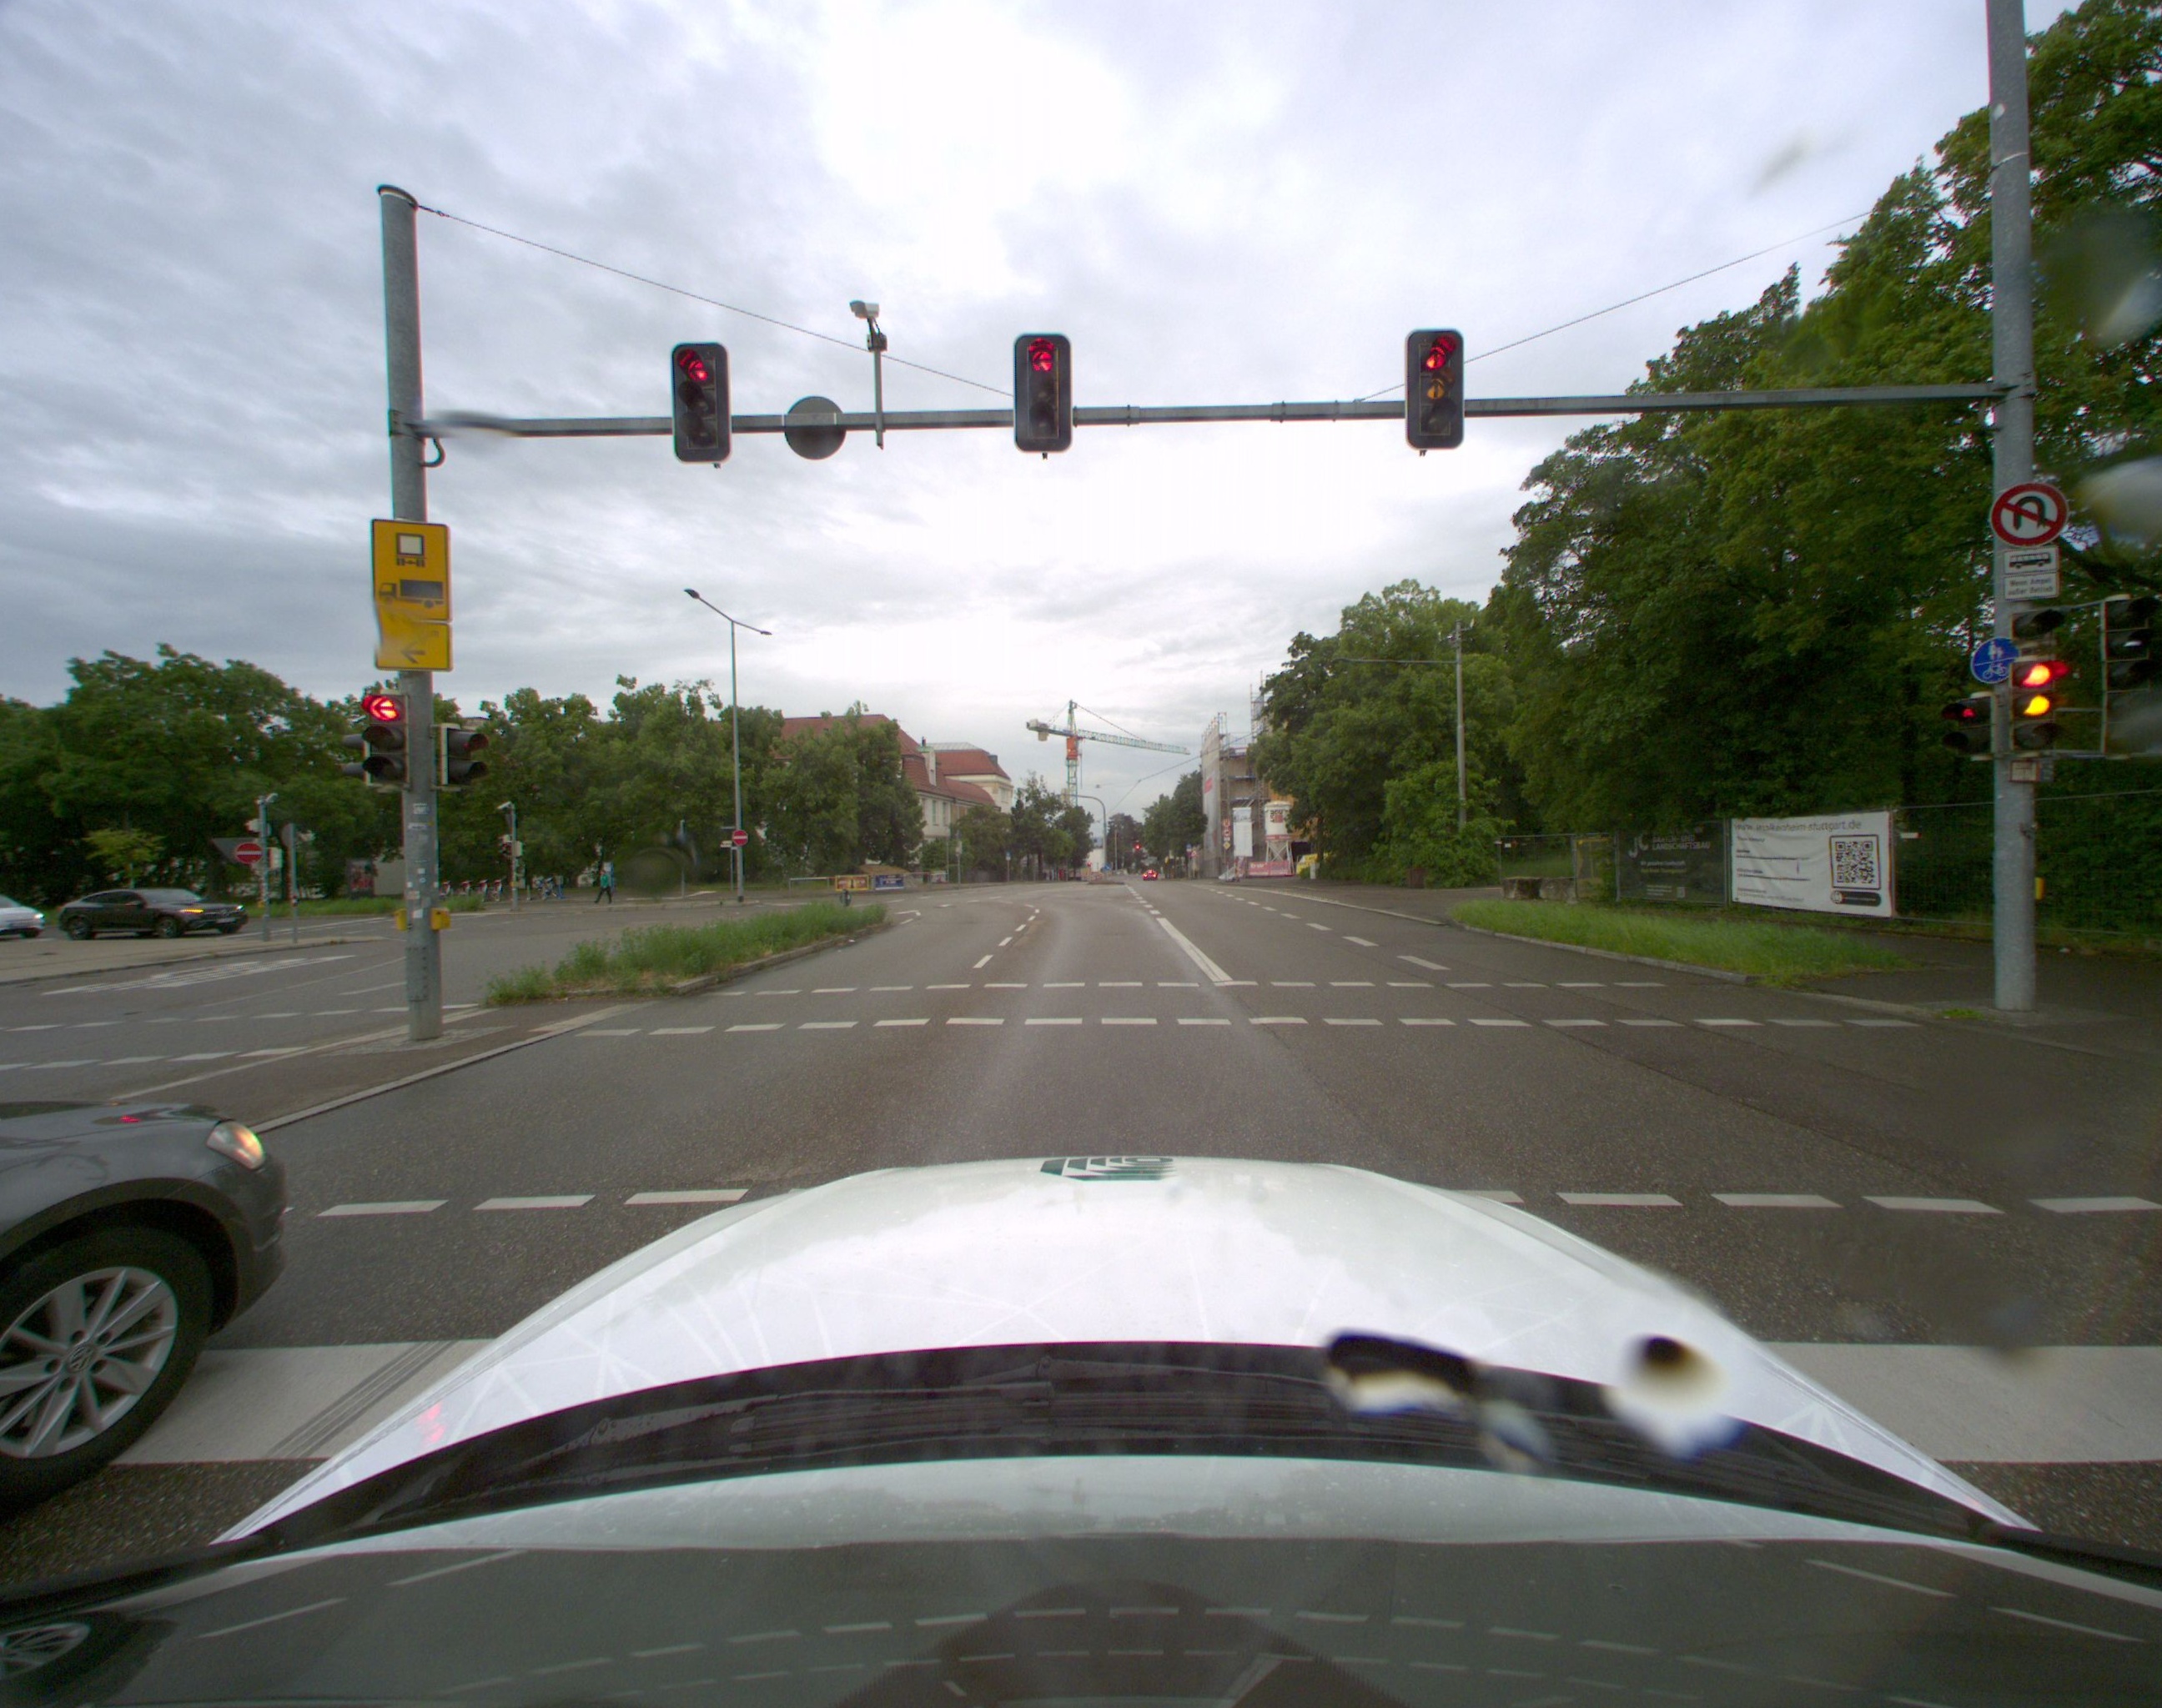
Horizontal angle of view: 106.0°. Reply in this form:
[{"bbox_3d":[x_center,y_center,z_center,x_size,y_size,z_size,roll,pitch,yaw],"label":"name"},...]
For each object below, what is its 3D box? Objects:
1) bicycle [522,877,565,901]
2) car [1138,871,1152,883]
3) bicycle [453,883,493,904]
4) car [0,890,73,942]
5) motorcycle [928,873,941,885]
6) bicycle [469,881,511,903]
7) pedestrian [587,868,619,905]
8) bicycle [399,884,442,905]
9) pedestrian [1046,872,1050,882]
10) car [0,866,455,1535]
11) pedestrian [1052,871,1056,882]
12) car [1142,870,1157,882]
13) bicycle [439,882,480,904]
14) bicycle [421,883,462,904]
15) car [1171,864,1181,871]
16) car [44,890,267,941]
[{"bbox_3d":[-29.435,1.909,44.614,0.987,1.249,1.982,0,-1,2],"label":"bicycle"},{"bbox_3d":[10.200,3.651,130.749,1.986,1.750,4.001,-2,0,1],"label":"car"},{"bbox_3d":[-33.018,2.118,44.274,0.649,1.071,1.982,0,-1,2],"label":"bicycle"},{"bbox_3d":[-36.496,2.038,27.049,3.539,1.594,2.001,0,-1,1],"label":"car"},{"bbox_3d":[-11.704,1.990,64.936,0.846,0.877,0.877,0,-1,1],"label":"motorcycle"},{"bbox_3d":[-32.268,2.066,44.505,0.798,1.071,1.982,0,-1,2],"label":"bicycle"},{"bbox_3d":[-22.665,1.544,38.607,0.917,1.727,0.948,-1,-1,9],"label":"pedestrian"},{"bbox_3d":[-35.963,2.178,44.365,0.649,1.071,1.982,0,-1,2],"label":"bicycle"},{"bbox_3d":[-4.963,3.395,121.566,0.473,1.396,0.411,-2,0,1],"label":"pedestrian"},{"bbox_3d":[-3.370,0.804,0.922,1.809,1.481,4.378,-2,0,2],"label":"car"},{"bbox_3d":[-4.073,3.300,121.931,0.492,1.645,0.533,0,-1,-4],"label":"pedestrian"},{"bbox_3d":[10.519,3.385,124.998,1.986,1.750,4.001,-2,0,1],"label":"car"},{"bbox_3d":[-33.907,2.114,44.449,0.649,1.071,1.982,0,-1,2],"label":"bicycle"},{"bbox_3d":[-34.986,2.142,44.580,0.649,1.071,1.982,0,-1,2],"label":"bicycle"},{"bbox_3d":[25.527,3.490,218.934,1.980,1.750,4.014,-2,0,13],"label":"car"},{"bbox_3d":[-30.075,1.985,26.584,5.006,1.500,2.001,0,-1,1],"label":"car"}]
